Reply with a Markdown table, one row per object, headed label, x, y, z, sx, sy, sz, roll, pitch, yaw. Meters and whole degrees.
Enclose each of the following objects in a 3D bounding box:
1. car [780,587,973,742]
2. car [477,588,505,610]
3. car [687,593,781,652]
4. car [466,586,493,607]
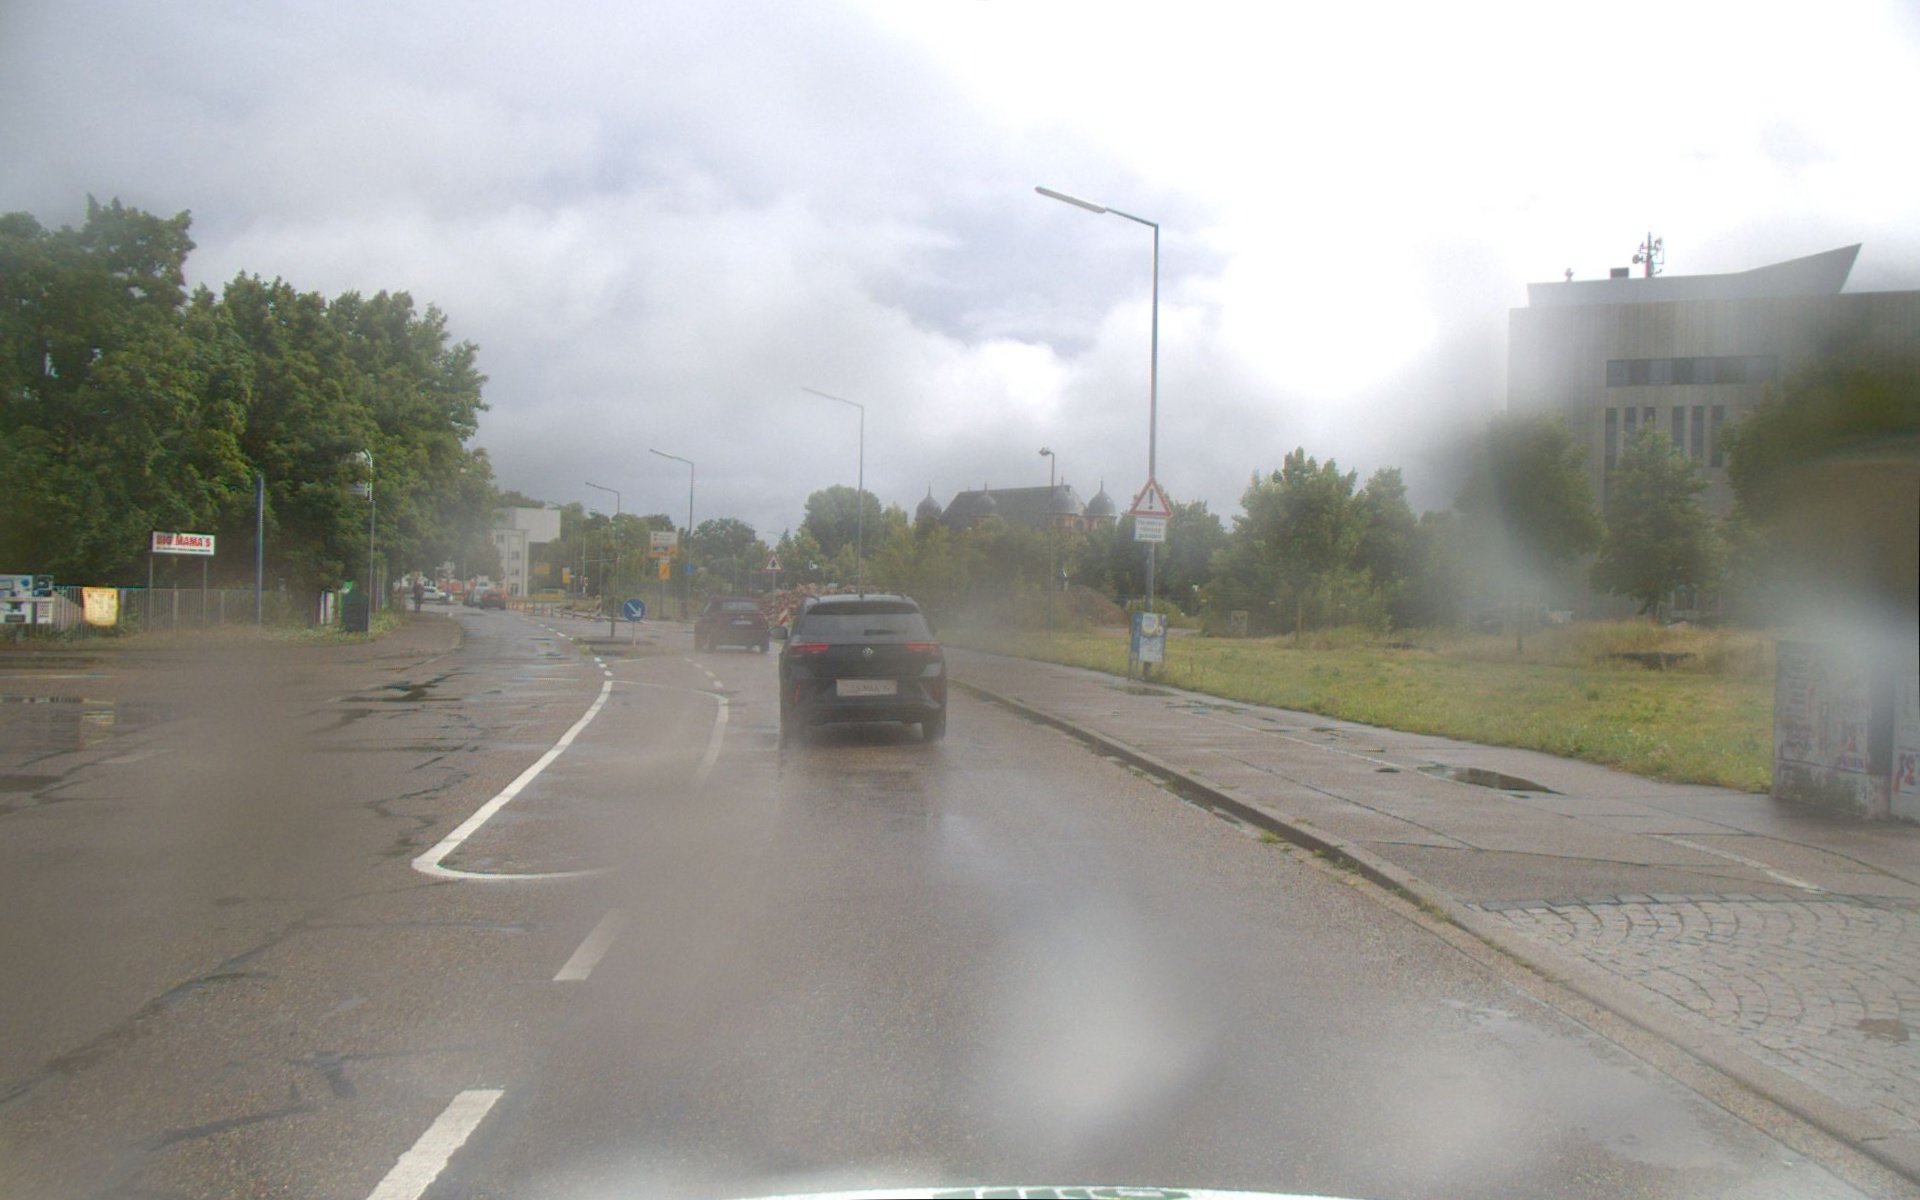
| label | x | y | z | sx | sy | sz | roll | pitch | yaw |
| --- | --- | --- | --- | --- | --- | --- | --- | --- | --- |
| car | -1.042 | 0.640 | 18.753 | 1.949 | 1.547 | 3.995 | -1 | 0 | -6 |
| car | -37.240 | -0.068 | 131.246 | 1.814 | 1.670 | 3.992 | 1 | 0 | -20 |
| car | -6.092 | 0.609 | 44.284 | 1.813 | 1.467 | 3.979 | -1 | 0 | -18 |
| car | -42.063 | -0.311 | 144.770 | 1.967 | 1.732 | 3.992 | 1 | 0 | -20 |
